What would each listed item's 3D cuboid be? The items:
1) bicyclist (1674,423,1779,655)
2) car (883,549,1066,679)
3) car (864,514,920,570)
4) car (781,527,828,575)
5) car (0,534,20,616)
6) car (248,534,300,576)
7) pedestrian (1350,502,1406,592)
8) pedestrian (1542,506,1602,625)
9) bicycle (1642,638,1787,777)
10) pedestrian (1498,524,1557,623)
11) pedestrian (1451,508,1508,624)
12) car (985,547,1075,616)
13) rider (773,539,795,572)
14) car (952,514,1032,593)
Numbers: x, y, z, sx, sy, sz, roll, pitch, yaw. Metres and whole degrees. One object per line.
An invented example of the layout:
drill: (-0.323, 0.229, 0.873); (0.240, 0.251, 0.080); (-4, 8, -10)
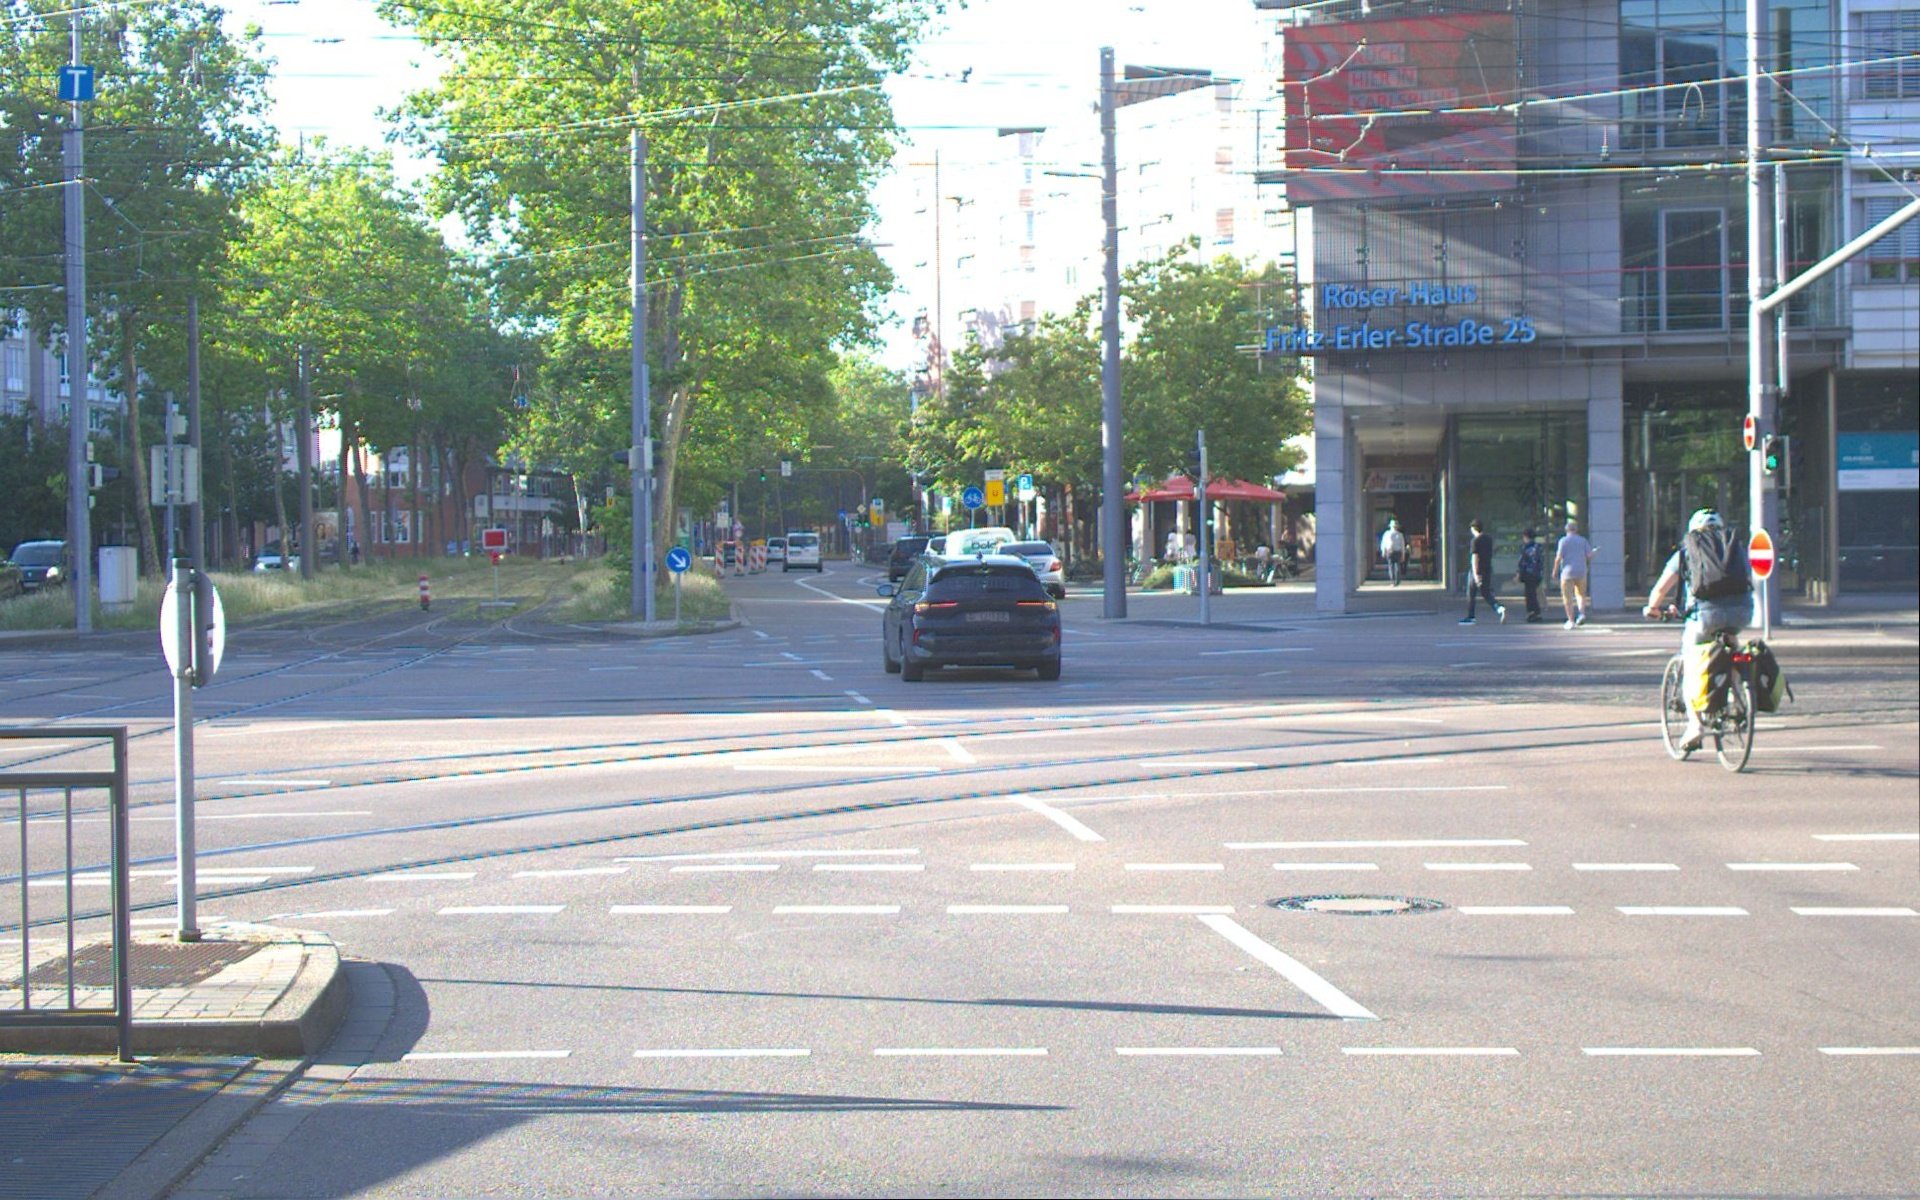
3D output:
bicyclist: (4.837, -0.382, 21.704); (0.486, 1.434, 0.615); (1, 1, -1)
car: (0.114, 0.121, 39.618); (1.763, 1.399, 4.297); (0, 1, -4)
car: (-2.482, -2.113, 126.678); (1.993, 2.007, 4.000); (1, 1, -1)
car: (-7.364, -2.301, 163.306); (1.993, 2.007, 3.999); (1, -3, 1)
car: (-21.782, -0.542, 75.085); (1.822, 1.784, 4.001); (-1, 1, -7)
car: (-27.228, -1.789, 136.486); (1.676, 1.601, 4.001); (1, 1, -6)
pedestrian: (10.338, -1.306, 85.097); (1.313, 2.182, 1.170); (1, 0, 6)
pedestrian: (10.441, -0.594, 58.692); (0.869, 2.007, 0.794); (1, 0, 1)
bicycle: (4.795, 0.667, 21.941); (0.490, 0.785, 1.862); (0, 1, -1)
pedestrian: (9.959, -0.465, 60.313); (0.869, 1.702, 0.794); (1, 0, -1)
pedestrian: (9.094, -0.603, 60.229); (0.849, 2.007, 0.708); (1, 0, -1)
car: (1.664, -0.449, 82.779); (2.029, 1.590, 4.000); (1, 1, -1)
rider: (-10.655, -2.685, 208.302); (1.270, 2.007, 0.956); (1, 0, -6)
car: (0.817, -1.204, 89.763); (1.993, 2.007, 4.000); (1, 1, -1)
